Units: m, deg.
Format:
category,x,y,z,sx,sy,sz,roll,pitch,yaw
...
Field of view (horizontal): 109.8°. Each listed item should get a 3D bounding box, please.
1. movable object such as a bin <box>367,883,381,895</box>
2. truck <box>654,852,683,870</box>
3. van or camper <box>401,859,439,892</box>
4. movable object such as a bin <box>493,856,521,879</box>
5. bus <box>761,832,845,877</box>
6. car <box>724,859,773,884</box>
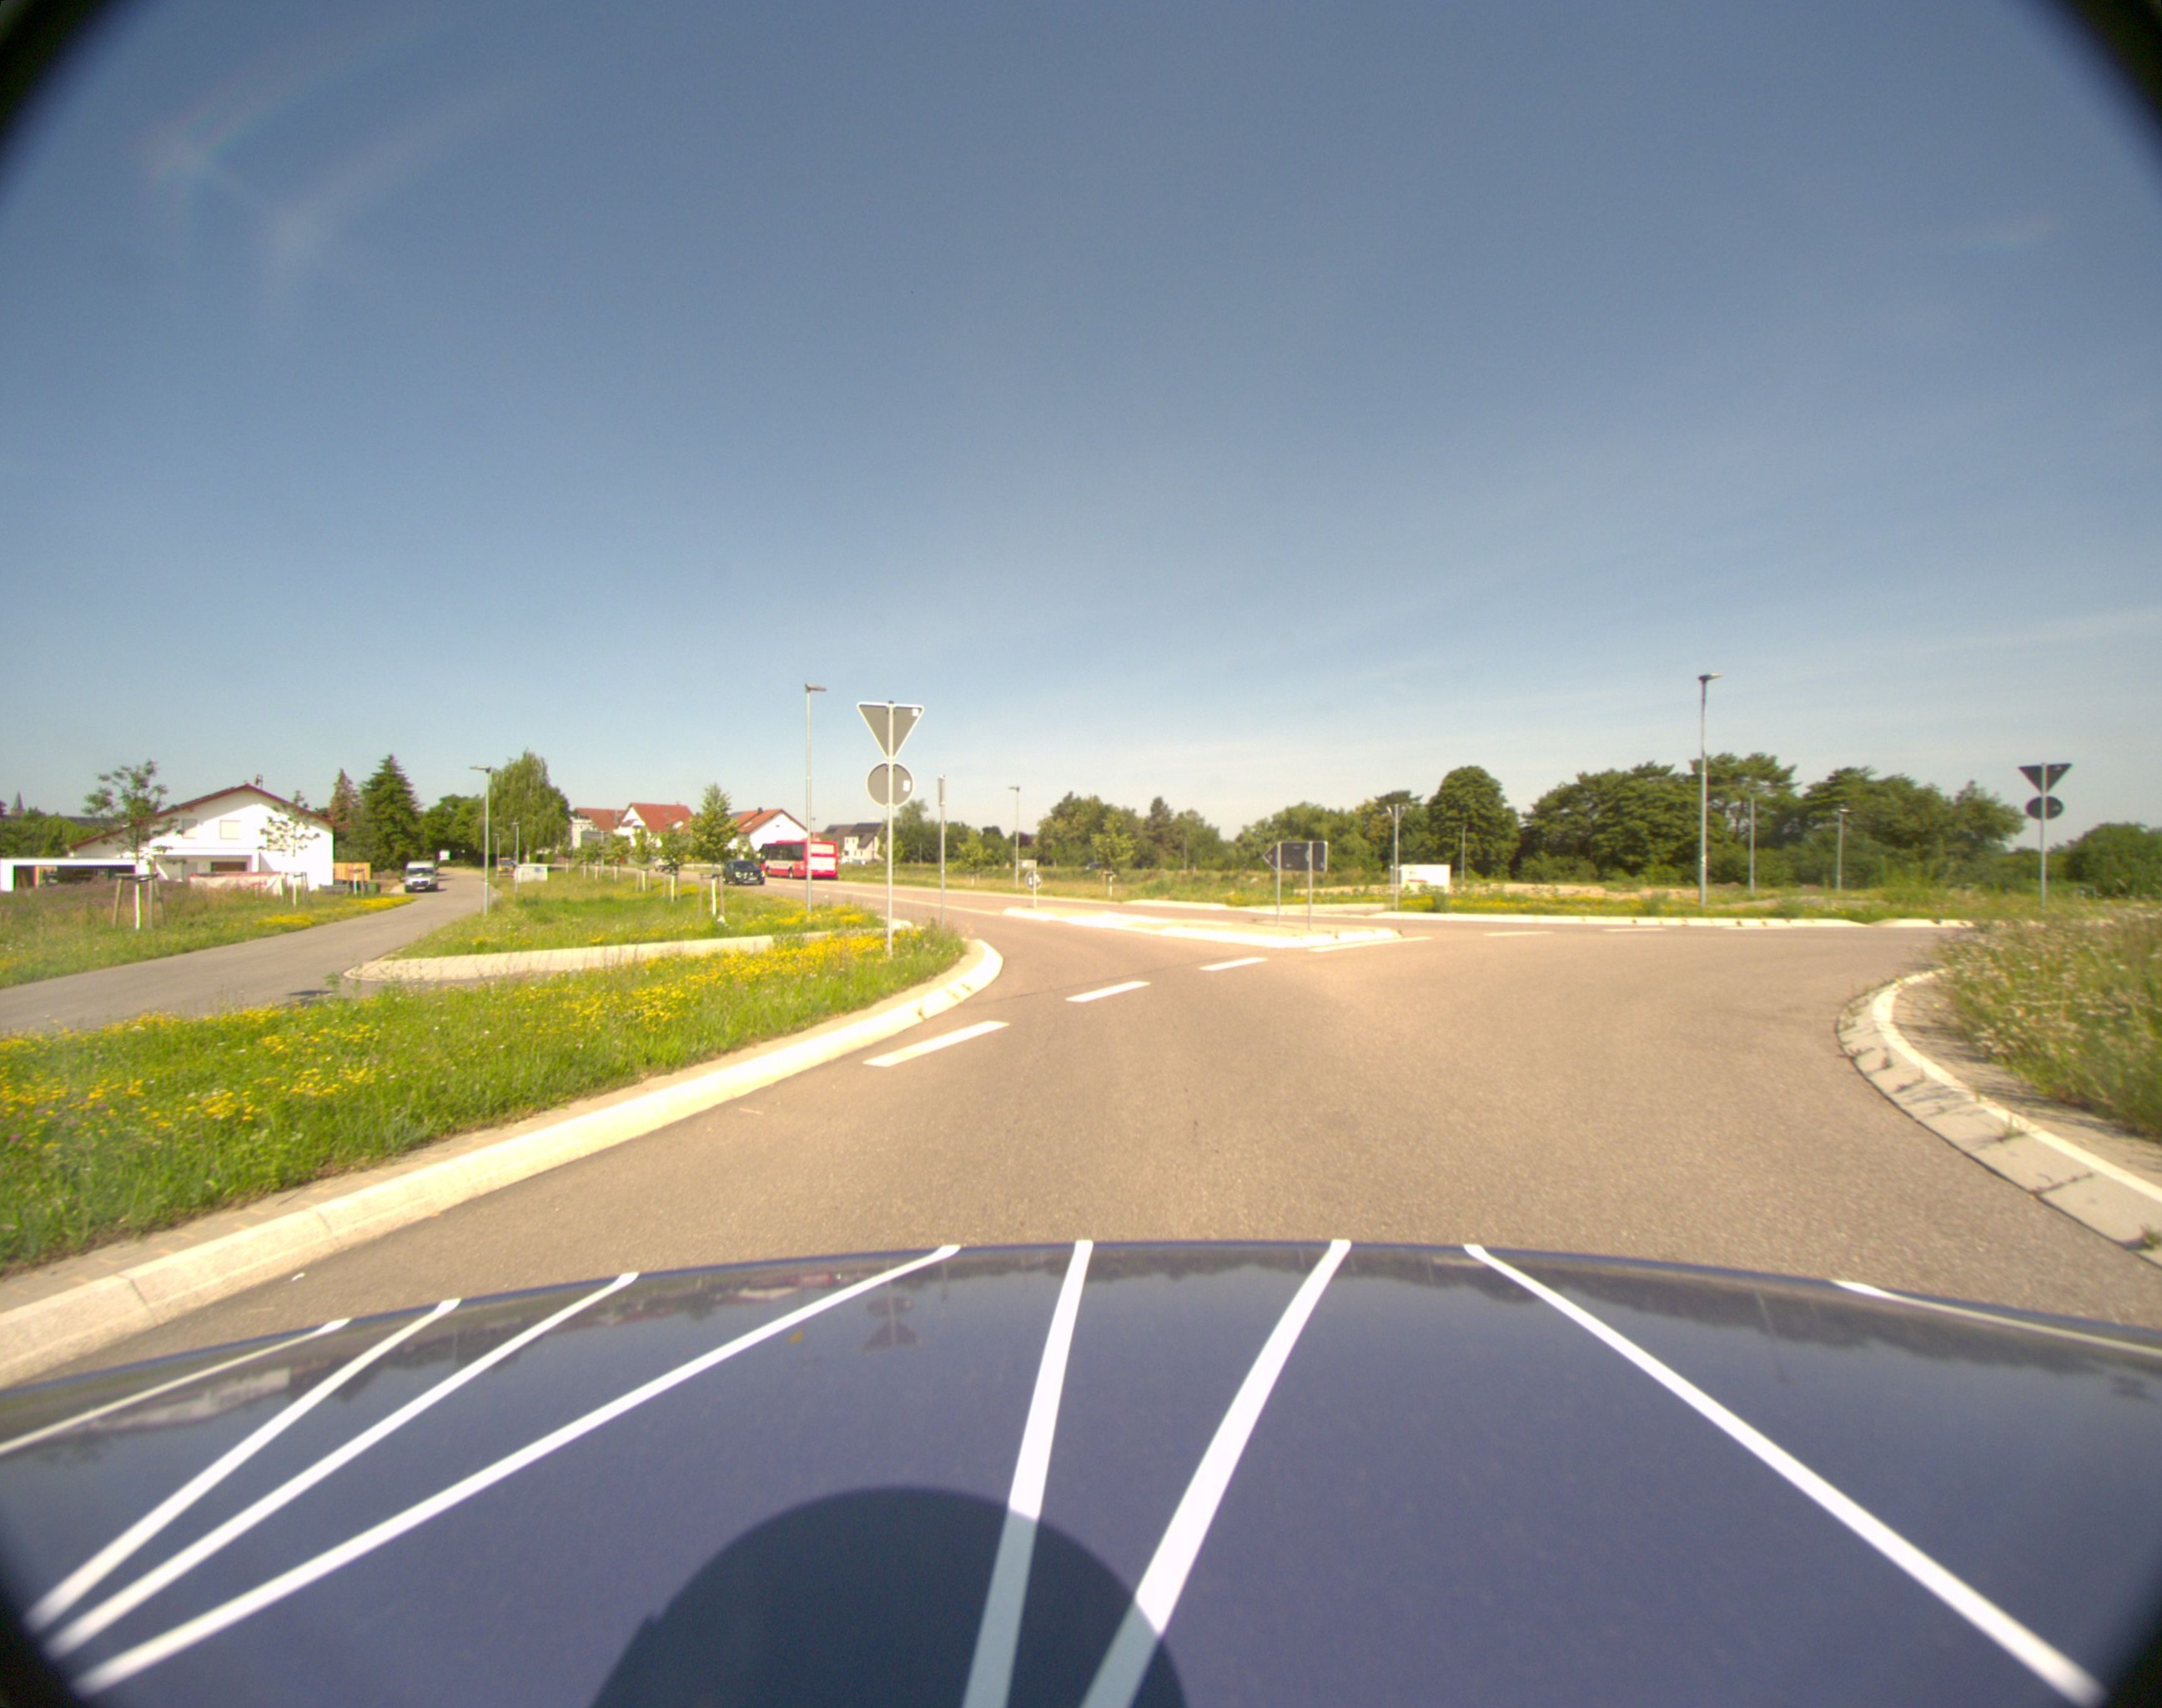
category,x,y,z,sx,sy,sz,roll,pitch,yaw
movable object such as a bin,-56.063,2.784,60.272,0.696,0.932,0.637,-2,1,-33
truck,-48.656,0.846,89.547,1.961,1.973,5.628,-3,1,-38
van or camper,-55.736,1.743,64.052,2.183,2.586,6.013,-2,1,-42
movable object such as a bin,-65.672,1.574,86.927,2.328,2.449,6.927,-3,1,-38
bus,-22.843,0.095,61.797,2.809,3.267,12.196,2,-1,-38
car,-21.995,1.122,50.185,1.938,1.552,3.989,0,0,-39
